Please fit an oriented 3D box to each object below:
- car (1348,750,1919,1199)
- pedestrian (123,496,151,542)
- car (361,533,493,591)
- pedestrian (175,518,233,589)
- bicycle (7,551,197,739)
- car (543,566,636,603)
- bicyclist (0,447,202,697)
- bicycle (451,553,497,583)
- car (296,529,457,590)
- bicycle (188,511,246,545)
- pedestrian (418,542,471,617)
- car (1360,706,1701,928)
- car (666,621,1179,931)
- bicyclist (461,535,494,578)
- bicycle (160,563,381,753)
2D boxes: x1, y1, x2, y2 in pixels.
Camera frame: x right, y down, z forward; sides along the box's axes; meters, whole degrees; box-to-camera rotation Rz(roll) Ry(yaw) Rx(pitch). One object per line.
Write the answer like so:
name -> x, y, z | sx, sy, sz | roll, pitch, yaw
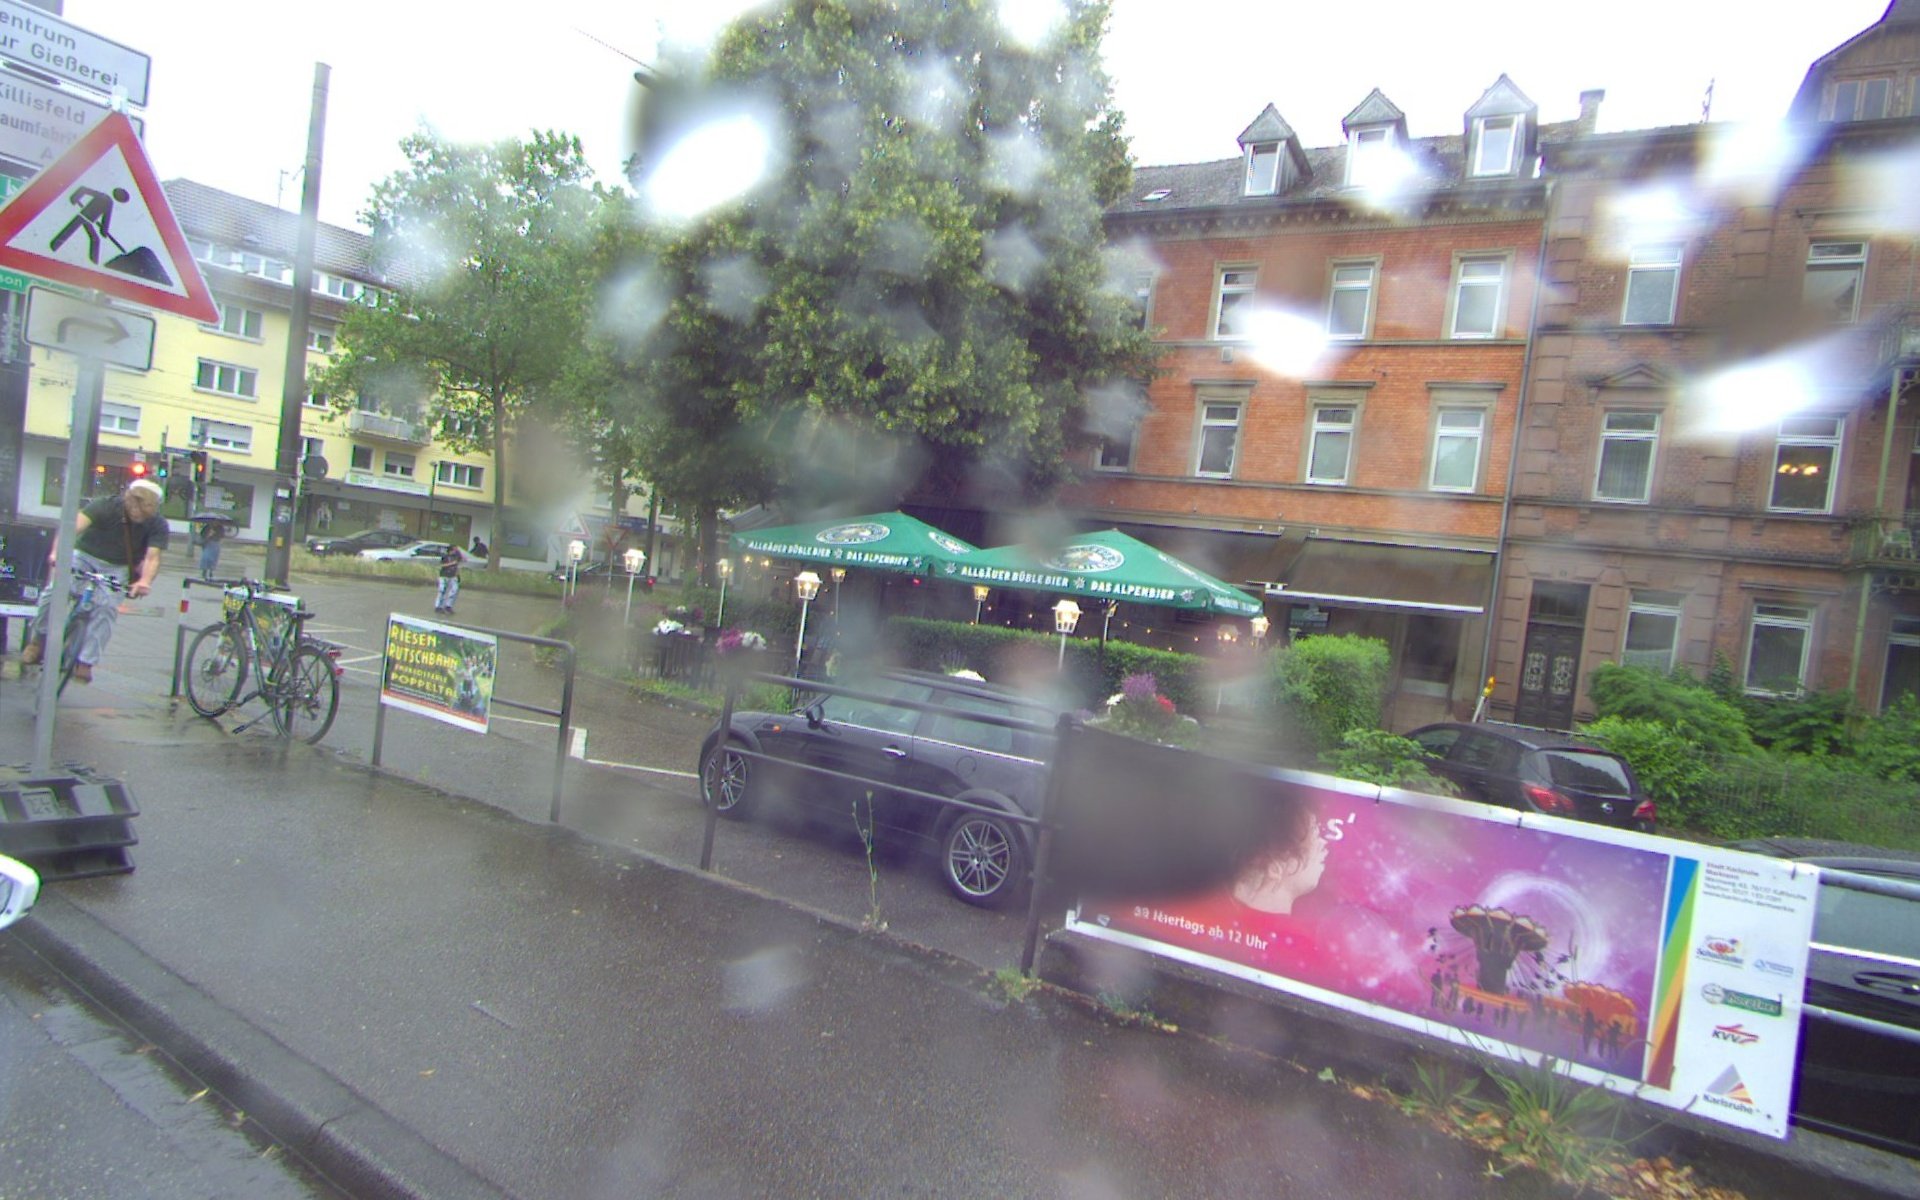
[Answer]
car -> 4.199, 1.818, 4.962 | 3.907, 1.416, 1.706 | 7, -1, 32
pedestrian -> -29.414, -2.890, 35.947 | 0.618, 1.518, 0.546 | 7, 0, -41
car -> -19.742, -1.388, 37.348 | 3.926, 1.508, 1.784 | 8, 0, -43
pedestrian -> -17.939, -1.094, 23.889 | 0.612, 1.552, 0.816 | 7, 0, -6
bicycle -> -6.098, 0.283, 7.111 | 1.871, 1.040, 0.459 | 8, 1, 34
car -> -15.540, -0.627, 42.278 | 1.227, 1.095, 3.531 | 7, -2, 34
bicyclist -> -6.103, -0.180, 7.135 | 0.848, 1.602, 0.877 | 7, -1, 42
bicycle -> -20.093, -1.304, 41.633 | 0.415, 1.013, 1.640 | 7, -1, 32
car -> -22.439, -1.524, 38.828 | 1.975, 1.661, 4.928 | 3, -4, 43
bicycle -> -35.595, -3.437, 48.202 | 2.096, 1.277, 0.525 | 8, 0, -44
pedestrian -> -12.547, -0.504, 24.469 | 0.898, 1.689, 1.011 | 7, -1, -33
car -> 6.602, 2.417, 12.265 | 1.962, 1.733, 4.003 | 7, -1, 5
car -> -0.348, 1.210, 7.804 | 3.468, 1.457, 1.710 | 8, -3, 34
bicyclist -> -19.989, -1.814, 41.697 | 0.699, 1.634, 0.815 | 7, 0, 33
bicycle -> -5.174, 0.399, 7.501 | 1.984, 1.119, 0.515 | 7, -3, 34
